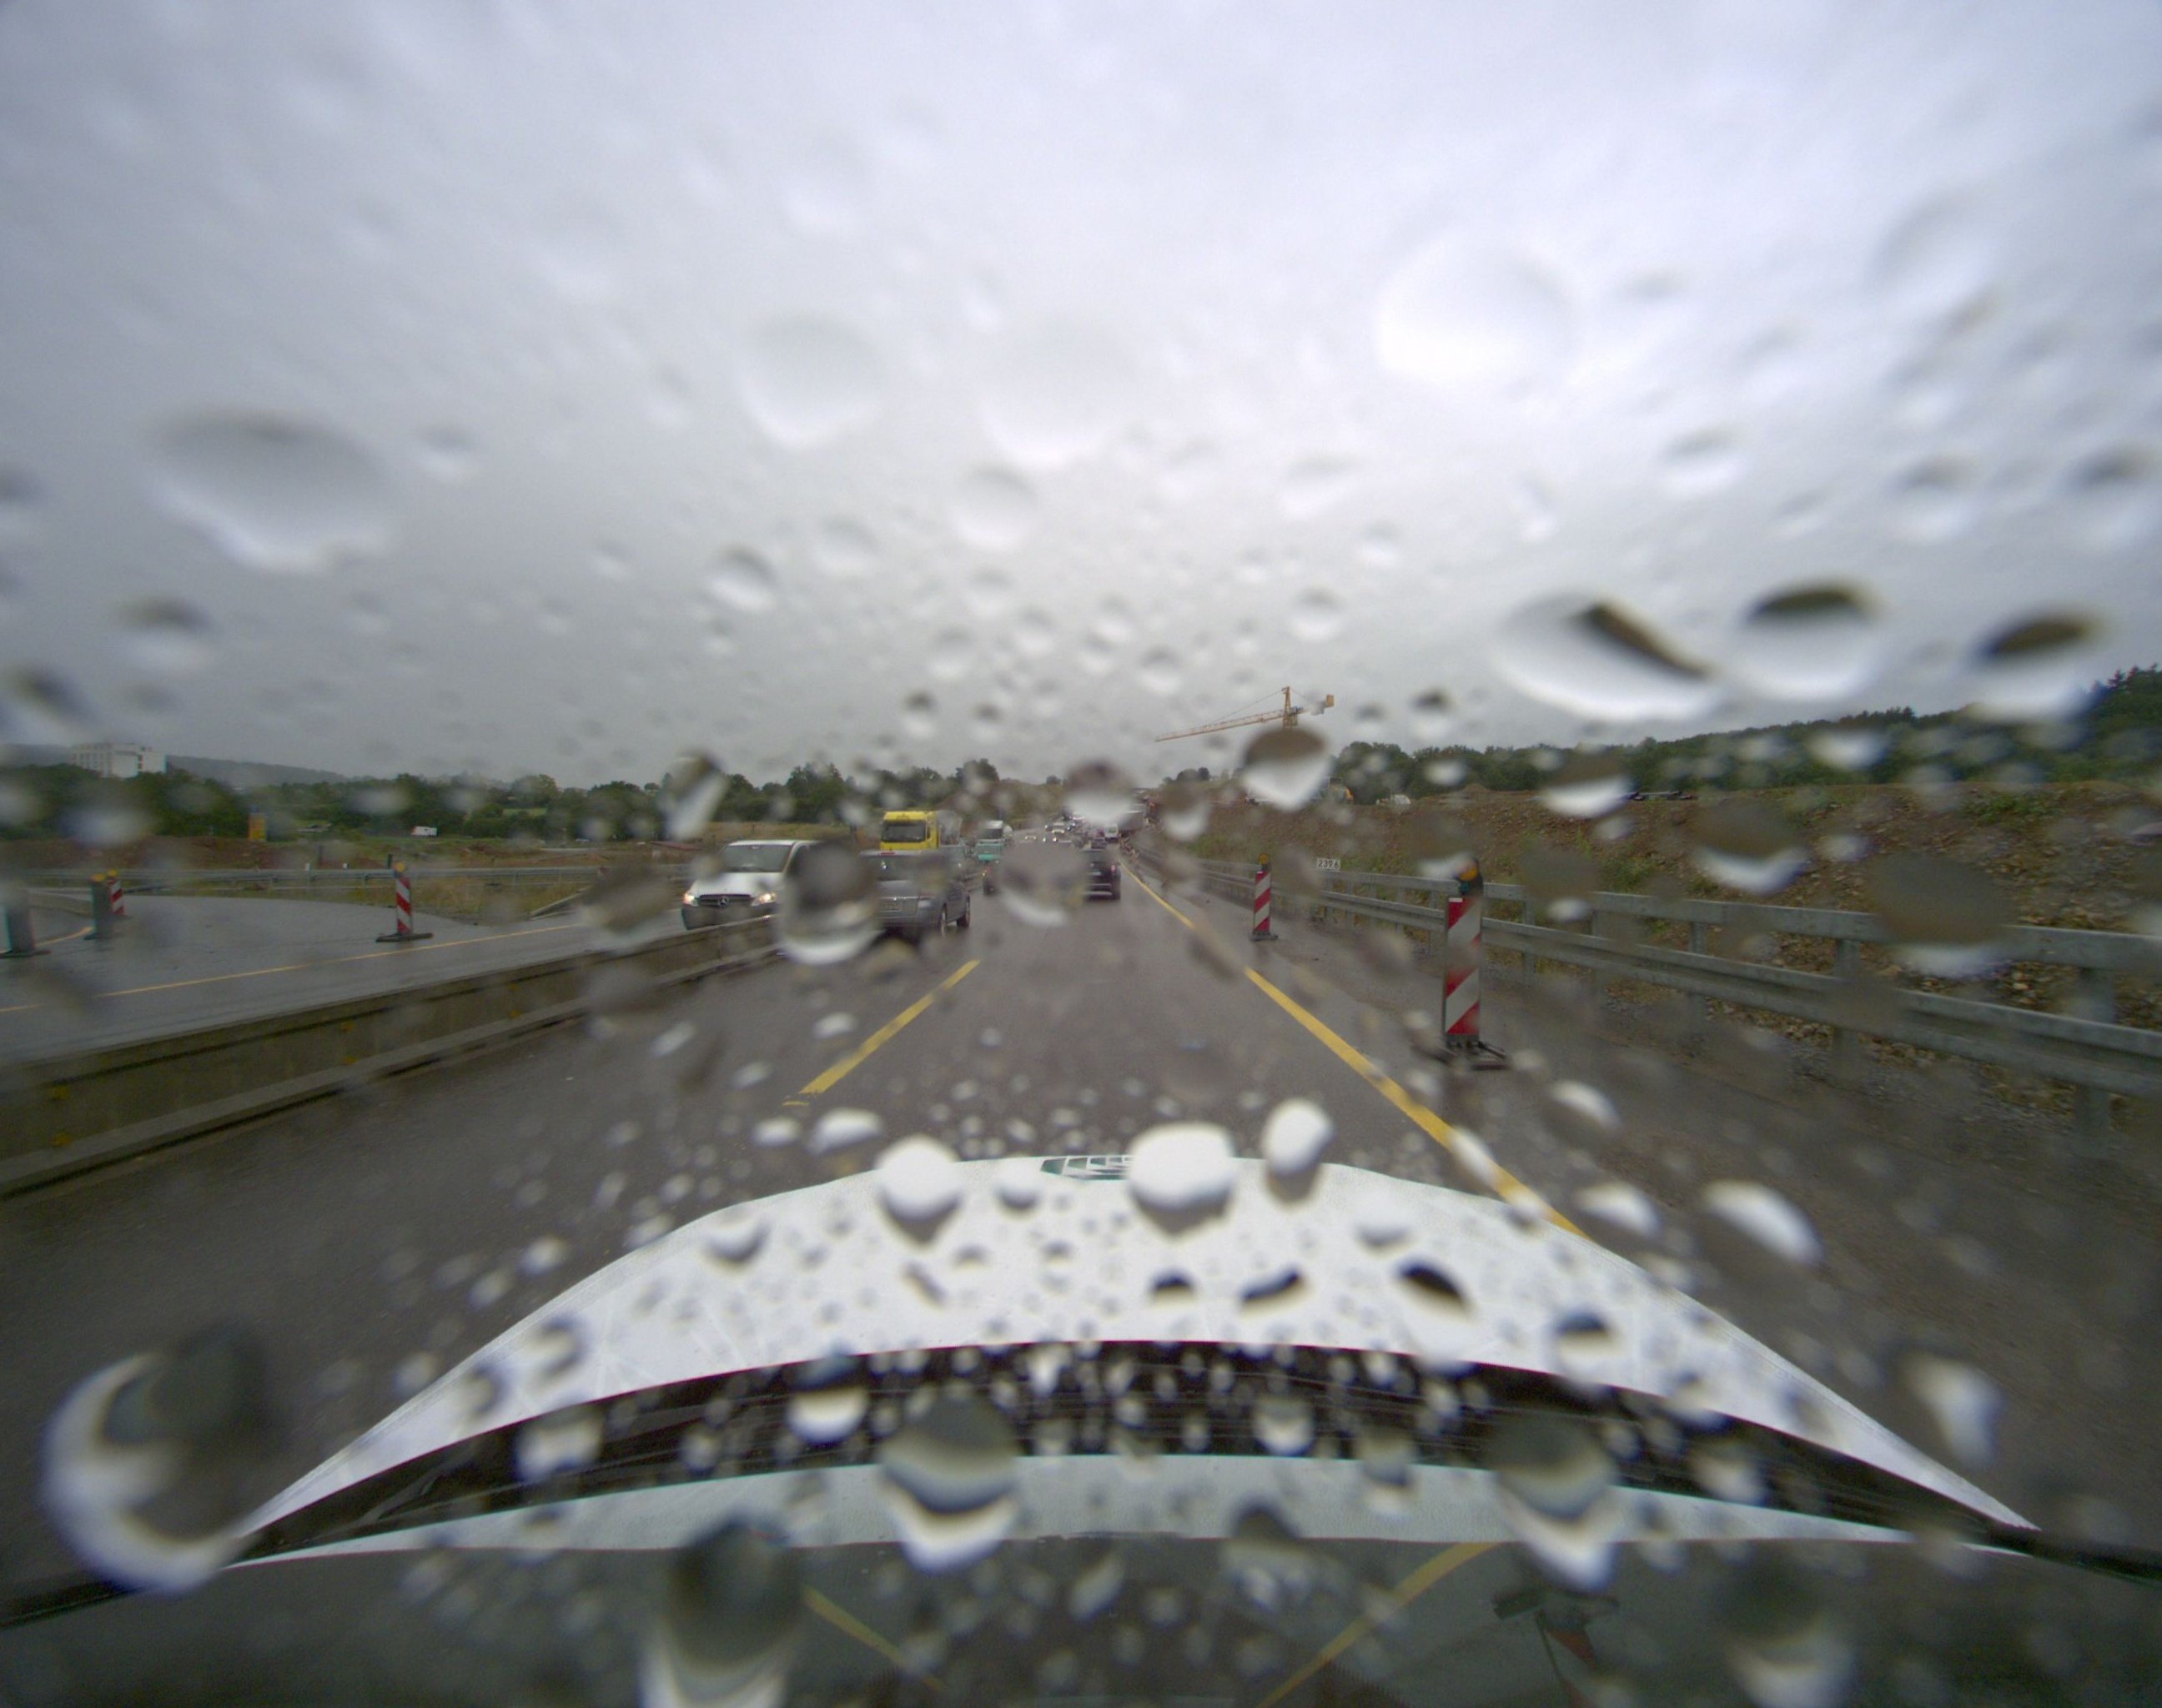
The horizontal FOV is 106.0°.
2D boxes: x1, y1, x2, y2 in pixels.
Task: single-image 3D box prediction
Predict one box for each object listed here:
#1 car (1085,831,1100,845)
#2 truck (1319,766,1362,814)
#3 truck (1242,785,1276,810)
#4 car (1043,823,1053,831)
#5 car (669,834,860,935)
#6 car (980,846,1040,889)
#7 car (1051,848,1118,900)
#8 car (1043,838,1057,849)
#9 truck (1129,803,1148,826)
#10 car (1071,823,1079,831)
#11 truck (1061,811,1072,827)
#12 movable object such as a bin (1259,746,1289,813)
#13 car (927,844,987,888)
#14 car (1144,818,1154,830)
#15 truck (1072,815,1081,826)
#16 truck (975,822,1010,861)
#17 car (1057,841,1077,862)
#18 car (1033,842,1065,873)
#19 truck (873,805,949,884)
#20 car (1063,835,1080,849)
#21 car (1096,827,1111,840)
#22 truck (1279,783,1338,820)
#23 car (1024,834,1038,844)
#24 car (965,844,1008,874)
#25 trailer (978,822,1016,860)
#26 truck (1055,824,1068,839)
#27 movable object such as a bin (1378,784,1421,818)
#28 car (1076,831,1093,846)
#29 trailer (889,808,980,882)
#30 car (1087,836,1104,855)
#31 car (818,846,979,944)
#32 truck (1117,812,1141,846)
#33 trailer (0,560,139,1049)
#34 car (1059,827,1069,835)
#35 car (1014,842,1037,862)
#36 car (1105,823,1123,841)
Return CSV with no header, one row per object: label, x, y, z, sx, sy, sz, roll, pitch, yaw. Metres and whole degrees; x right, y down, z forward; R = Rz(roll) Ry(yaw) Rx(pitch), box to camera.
car,1.848,-2.607,130.323,1.983,2.162,4.148,0,0,6
truck,25.436,-6.186,79.947,2.365,4.218,5.980,0,0,1
truck,21.400,-6.733,98.110,2.636,2.554,6.985,0,0,1
car,-6.586,-5.368,162.036,1.780,1.538,4.313,-1,1,1
car,-6.450,0.542,17.395,1.868,1.792,5.360,-1,0,1
car,-2.716,0.483,32.101,1.987,1.600,4.140,0,0,0
car,0.188,0.615,27.302,2.073,1.600,4.142,0,0,2
car,-4.414,-1.484,116.697,1.766,1.504,4.680,-1,1,1
truck,14.030,-9.589,198.812,3.791,5.042,12.922,0,0,1
car,-1.223,-5.739,172.273,1.671,1.523,4.346,-1,2,1
truck,-3.745,-9.191,210.900,2.633,3.969,9.215,0,3,0
movable object such as a bin,34.506,-13.049,144.938,4.683,10.841,10.347,0,0,16
car,-5.533,0.480,36.923,1.781,1.805,5.191,-2,0,1
car,14.311,-6.310,172.011,1.986,2.484,4.744,0,0,2
truck,-1.117,-7.961,194.287,2.140,2.713,6.017,0,2,0
truck,-8.673,-1.251,80.206,2.611,3.677,6.595,0,1,0
car,-1.435,-0.251,84.528,1.988,2.162,4.137,0,0,-2
car,-2.211,0.222,56.983,1.987,2.013,3.894,0,0,0
truck,-9.240,-0.500,45.040,2.739,4.062,6.150,0,0,1
car,-1.259,-1.533,105.483,1.986,1.761,3.817,0,0,2
car,3.902,-3.589,140.565,1.981,2.162,4.152,0,0,10
truck,20.912,-4.799,75.396,3.381,2.875,8.966,0,0,3
car,-7.623,-2.304,124.206,1.782,1.546,4.001,0,1,1
car,-5.812,0.293,50.494,1.986,1.759,4.689,0,1,1
trailer,-8.631,-1.287,85.317,2.611,3.677,12.005,0,1,1
truck,-3.293,-3.791,138.201,2.071,2.576,5.962,0,0,1
movable object such as a bin,37.164,-6.091,95.164,2.335,3.599,6.556,0,0,-2
car,0.548,-2.177,117.033,1.983,2.162,4.149,0,0,7
trailer,-9.039,-0.560,52.734,2.739,4.042,15.363,0,0,1
car,1.733,-1.002,96.068,1.986,2.162,4.143,0,0,2
car,-3.277,0.664,15.519,1.986,1.600,4.142,0,0,2
truck,8.256,-4.179,139.140,3.083,5.425,9.467,0,0,9
trailer,-10.166,-0.341,2.584,2.676,3.963,9.822,-2,0,1
car,-3.246,-4.450,157.079,1.780,1.538,4.313,-1,1,1
car,-5.246,-0.228,77.845,1.859,1.800,4.163,0,1,1
car,4.902,-3.253,120.317,1.982,2.484,4.994,0,0,9
